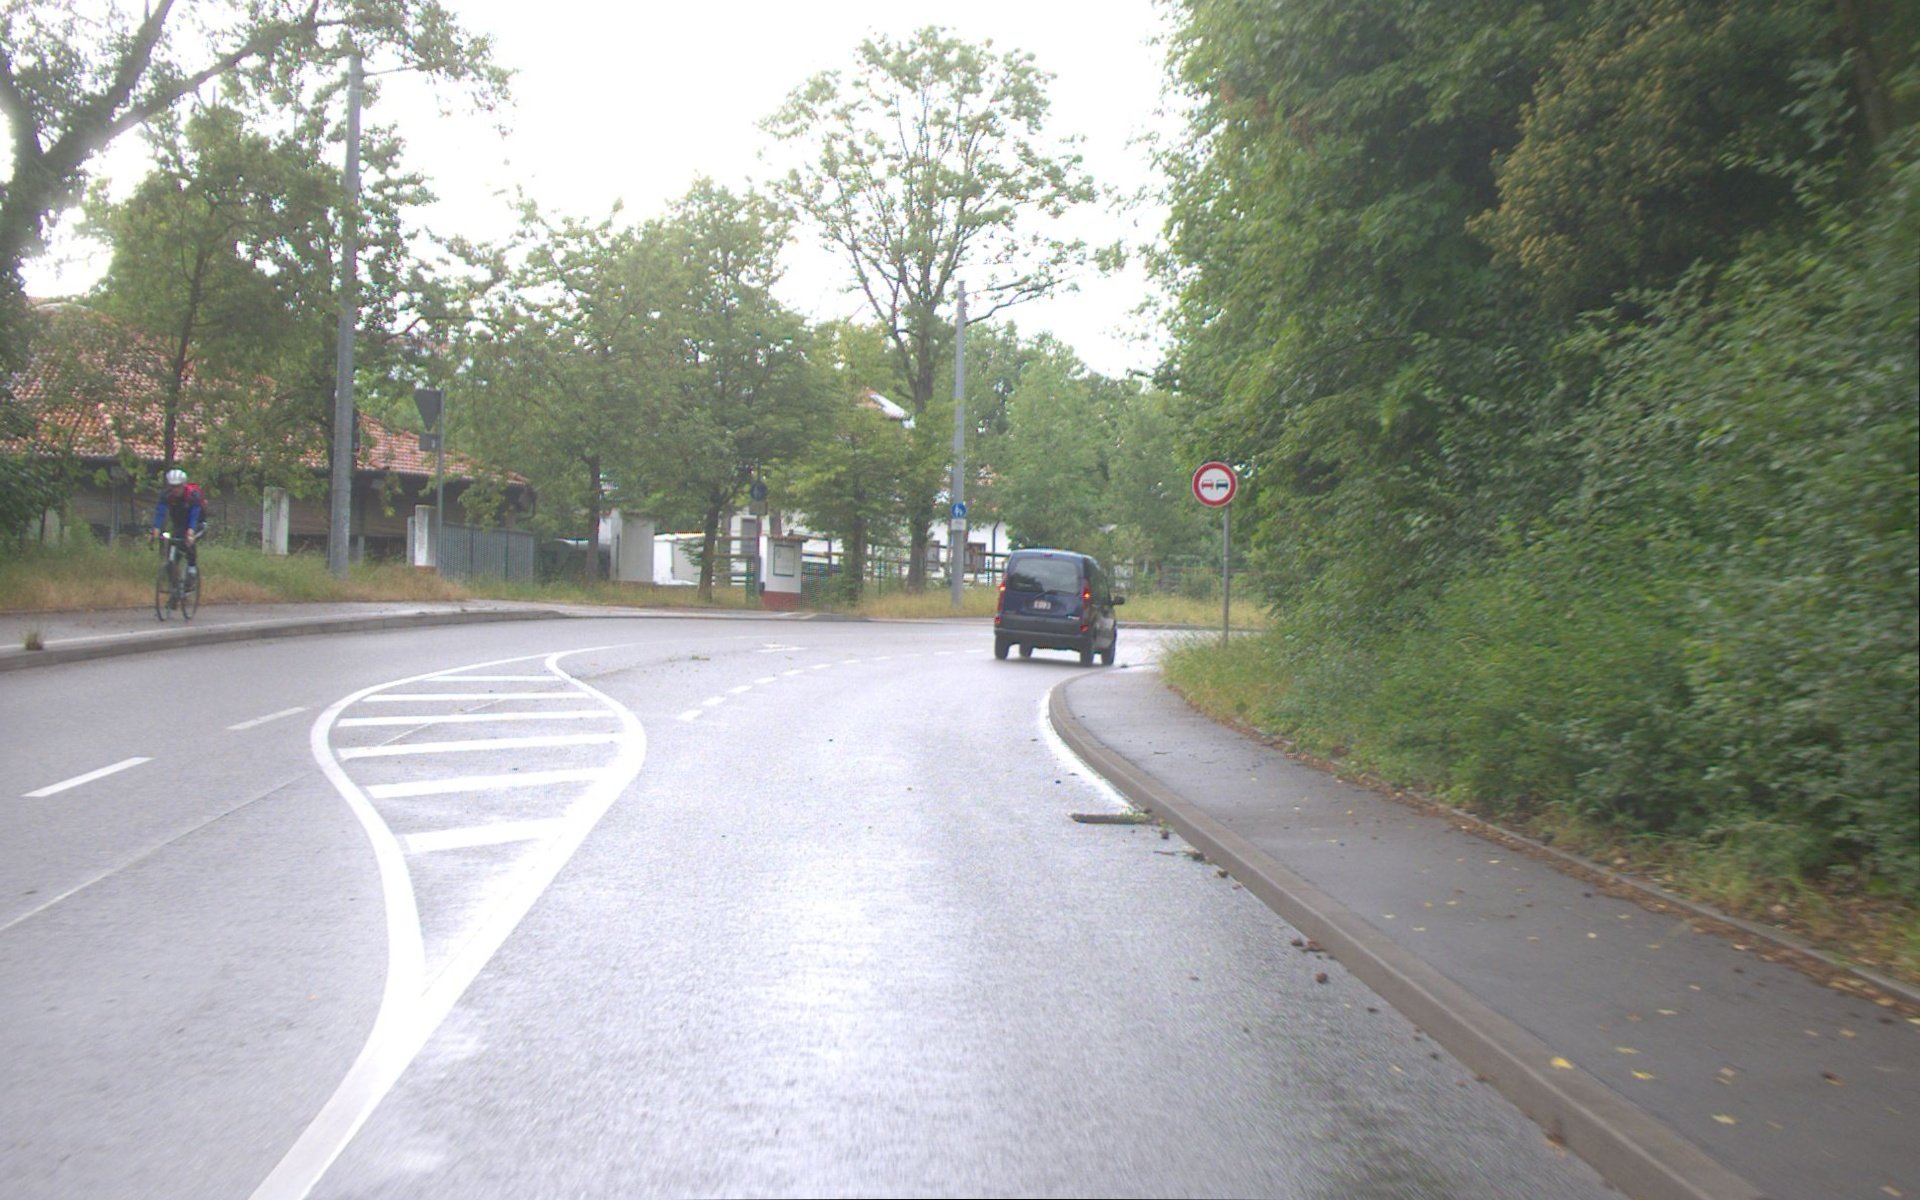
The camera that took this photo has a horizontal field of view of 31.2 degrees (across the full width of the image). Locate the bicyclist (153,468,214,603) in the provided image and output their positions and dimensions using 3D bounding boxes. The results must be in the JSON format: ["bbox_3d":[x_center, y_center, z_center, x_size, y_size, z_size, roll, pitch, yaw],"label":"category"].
[{"bbox_3d":[-9.173,-0.753,40.620,0.336,1.569,1.298,2,0,2],"label":"bicyclist"}]

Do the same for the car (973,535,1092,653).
[{"bbox_3d":[1.239,-0.066,57.034,1.827,1.788,3.999,-2,-1,2],"label":"car"}]

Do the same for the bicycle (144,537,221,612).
[{"bbox_3d":[-9.183,-0.311,40.650,0.355,0.846,2.093,2,1,1],"label":"bicycle"}]
